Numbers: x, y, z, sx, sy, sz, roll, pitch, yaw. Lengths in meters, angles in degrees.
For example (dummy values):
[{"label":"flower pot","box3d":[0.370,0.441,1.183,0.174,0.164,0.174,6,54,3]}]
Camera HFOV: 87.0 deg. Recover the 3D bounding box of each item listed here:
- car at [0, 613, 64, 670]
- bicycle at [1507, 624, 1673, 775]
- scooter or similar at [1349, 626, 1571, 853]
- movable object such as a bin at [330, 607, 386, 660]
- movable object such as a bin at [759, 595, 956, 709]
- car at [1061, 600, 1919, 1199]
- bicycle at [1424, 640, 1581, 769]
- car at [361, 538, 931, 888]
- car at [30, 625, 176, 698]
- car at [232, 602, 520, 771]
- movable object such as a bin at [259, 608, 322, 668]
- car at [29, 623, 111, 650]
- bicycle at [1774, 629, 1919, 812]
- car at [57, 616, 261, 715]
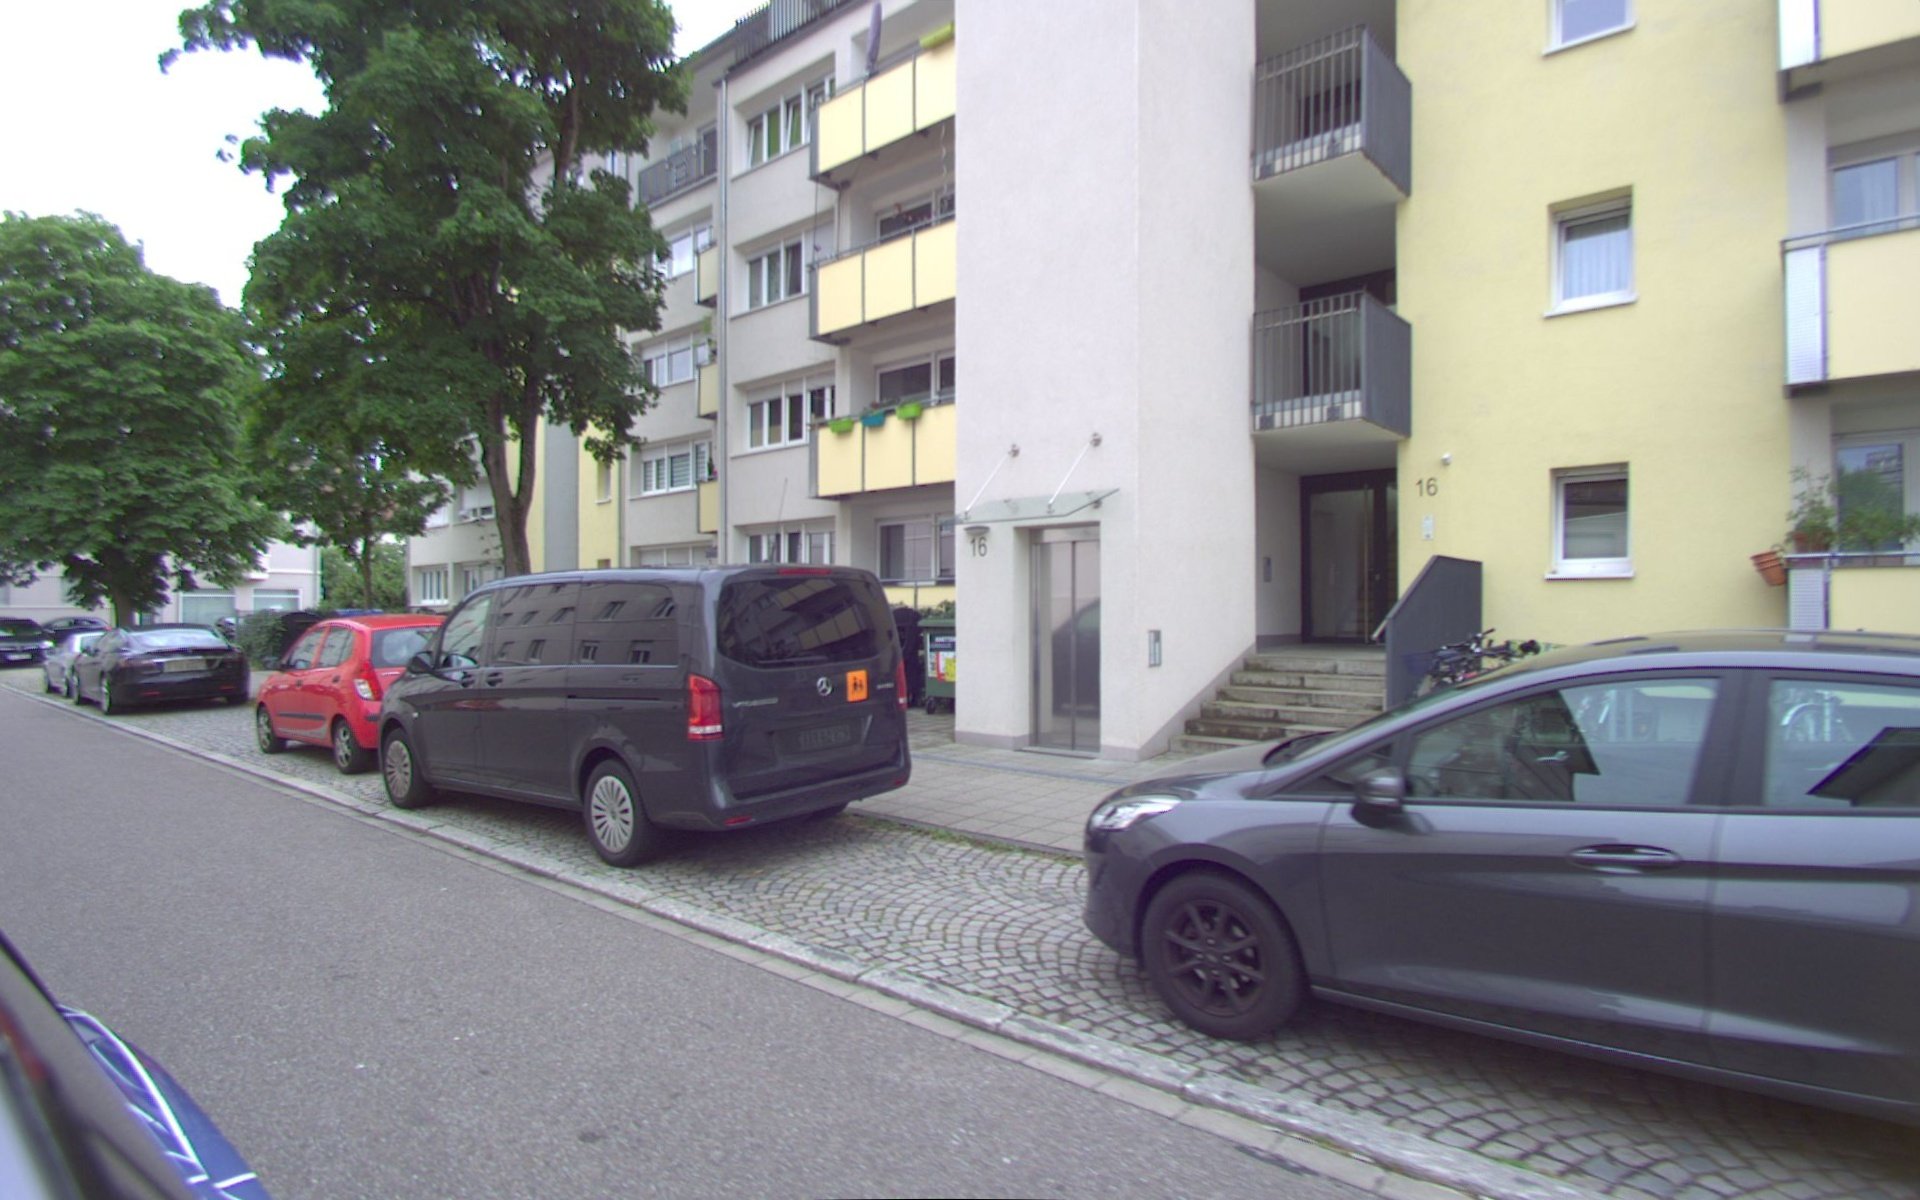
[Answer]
[{"label":"car","box3d":[-29.122,1.237,31.015,4.208,1.587,1.974,-1,1,41]},{"label":"bicycle","box3d":[5.383,0.775,8.599,1.829,1.146,0.717,1,-2,-42]},{"label":"scooter or similar","box3d":[3.032,0.791,6.186,1.135,1.253,0.432,-1,-2,41]},{"label":"movable object such as a bin","box3d":[-17.308,0.952,29.102,0.889,1.487,1.168,-1,-2,44]},{"label":"movable object such as a bin","box3d":[-1.533,0.724,14.996,2.539,1.535,1.596,-1,-2,40]},{"label":"car","box3d":[2.395,0.745,3.429,3.813,1.456,1.606,-1,0,38]},{"label":"bicycle","box3d":[4.933,0.889,9.150,1.829,1.028,0.671,1,-2,-42]},{"label":"car","box3d":[-2.617,0.638,7.683,4.782,1.869,1.867,-1,-1,40]},{"label":"car","box3d":[-18.016,1.217,21.218,4.208,1.274,1.743,-1,1,42]},{"label":"car","box3d":[-6.546,0.840,11.222,3.610,1.580,1.604,-1,-2,40]},{"label":"movable object such as a bin","box3d":[-17.173,0.958,25.955,0.889,1.487,1.168,-1,-2,44]},{"label":"car","box3d":[-43.519,1.761,49.507,1.353,1.294,2.890,-1,-2,44]},{"label":"bicycle","box3d":[6.396,0.793,7.342,0.715,1.146,1.834,-1,-2,38]},{"label":"car","box3d":[-14.024,1.043,17.639,4.430,1.450,1.895,-1,1,40]}]
